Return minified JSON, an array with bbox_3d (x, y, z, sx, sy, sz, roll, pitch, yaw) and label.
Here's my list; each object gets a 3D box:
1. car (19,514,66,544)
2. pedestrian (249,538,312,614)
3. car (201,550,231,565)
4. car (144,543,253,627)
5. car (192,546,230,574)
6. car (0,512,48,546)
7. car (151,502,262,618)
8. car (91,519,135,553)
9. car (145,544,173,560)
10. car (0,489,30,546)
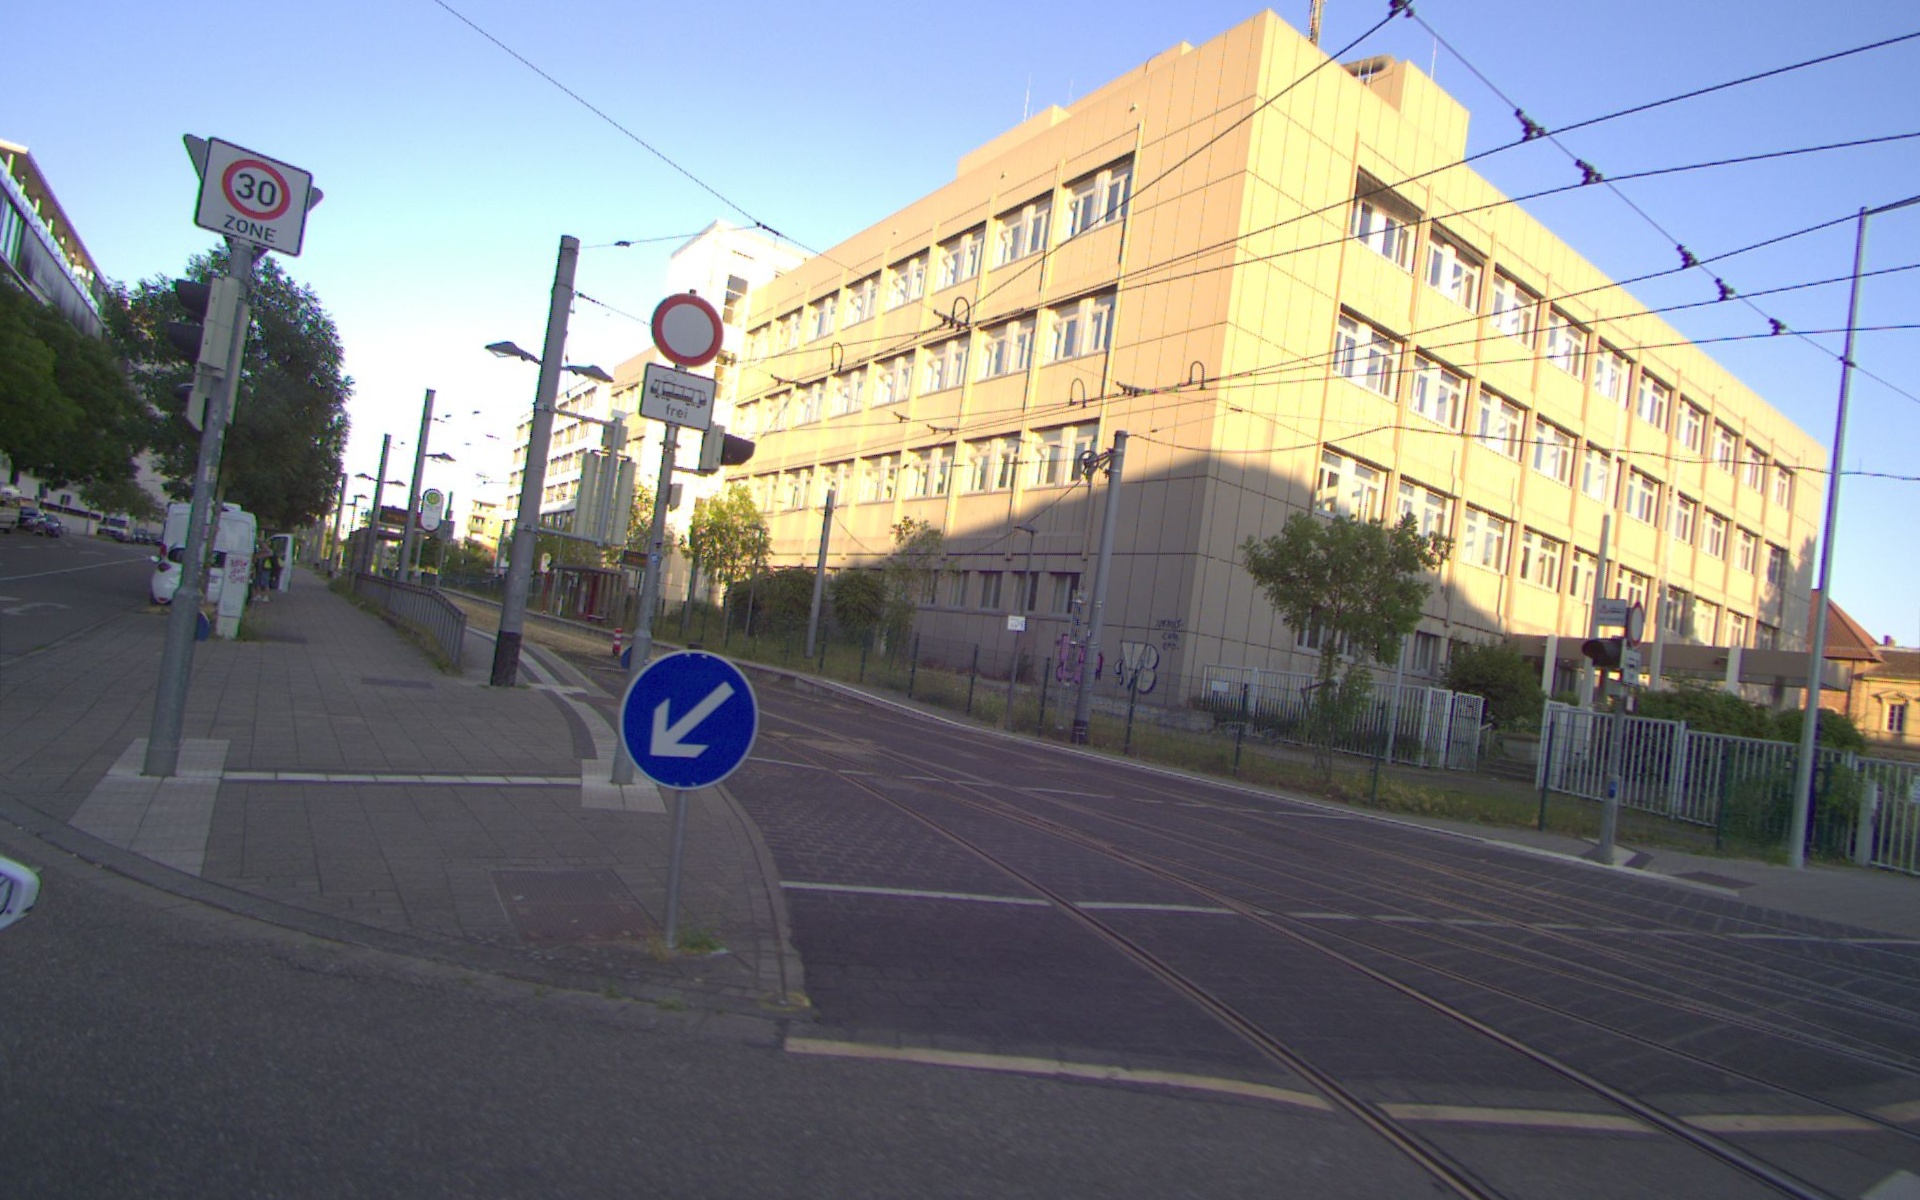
[{"bbox_3d":[-58.145,-4.484,63.821,1.709,1.467,4.353,11,-4,-39],"label":"car"},{"bbox_3d":[-19.777,-0.690,29.292,0.792,2.036,0.981,8,-2,10],"label":"pedestrian"},{"bbox_3d":[-102.704,-5.866,138.902,1.924,1.396,4.386,11,-4,-18],"label":"car"},{"bbox_3d":[-17.311,-0.378,22.981,1.738,1.602,3.975,6,-1,-36],"label":"car"},{"bbox_3d":[-49.709,-2.671,66.724,1.780,1.467,4.470,11,-4,-37],"label":"car"},{"bbox_3d":[-55.437,-4.183,59.251,1.835,1.588,4.229,11,-4,-34],"label":"car"},{"bbox_3d":[-20.480,-1.067,27.460,2.039,2.689,5.382,6,-1,-36],"label":"car"},{"bbox_3d":[-78.856,-5.882,93.742,1.949,2.643,6.834,12,-5,-33],"label":"car"},{"bbox_3d":[-94.463,-5.645,118.678,1.711,1.472,4.243,12,-5,-28],"label":"car"},{"bbox_3d":[-49.101,-4.283,50.618,2.090,2.692,6.889,10,-4,-34],"label":"car"}]
